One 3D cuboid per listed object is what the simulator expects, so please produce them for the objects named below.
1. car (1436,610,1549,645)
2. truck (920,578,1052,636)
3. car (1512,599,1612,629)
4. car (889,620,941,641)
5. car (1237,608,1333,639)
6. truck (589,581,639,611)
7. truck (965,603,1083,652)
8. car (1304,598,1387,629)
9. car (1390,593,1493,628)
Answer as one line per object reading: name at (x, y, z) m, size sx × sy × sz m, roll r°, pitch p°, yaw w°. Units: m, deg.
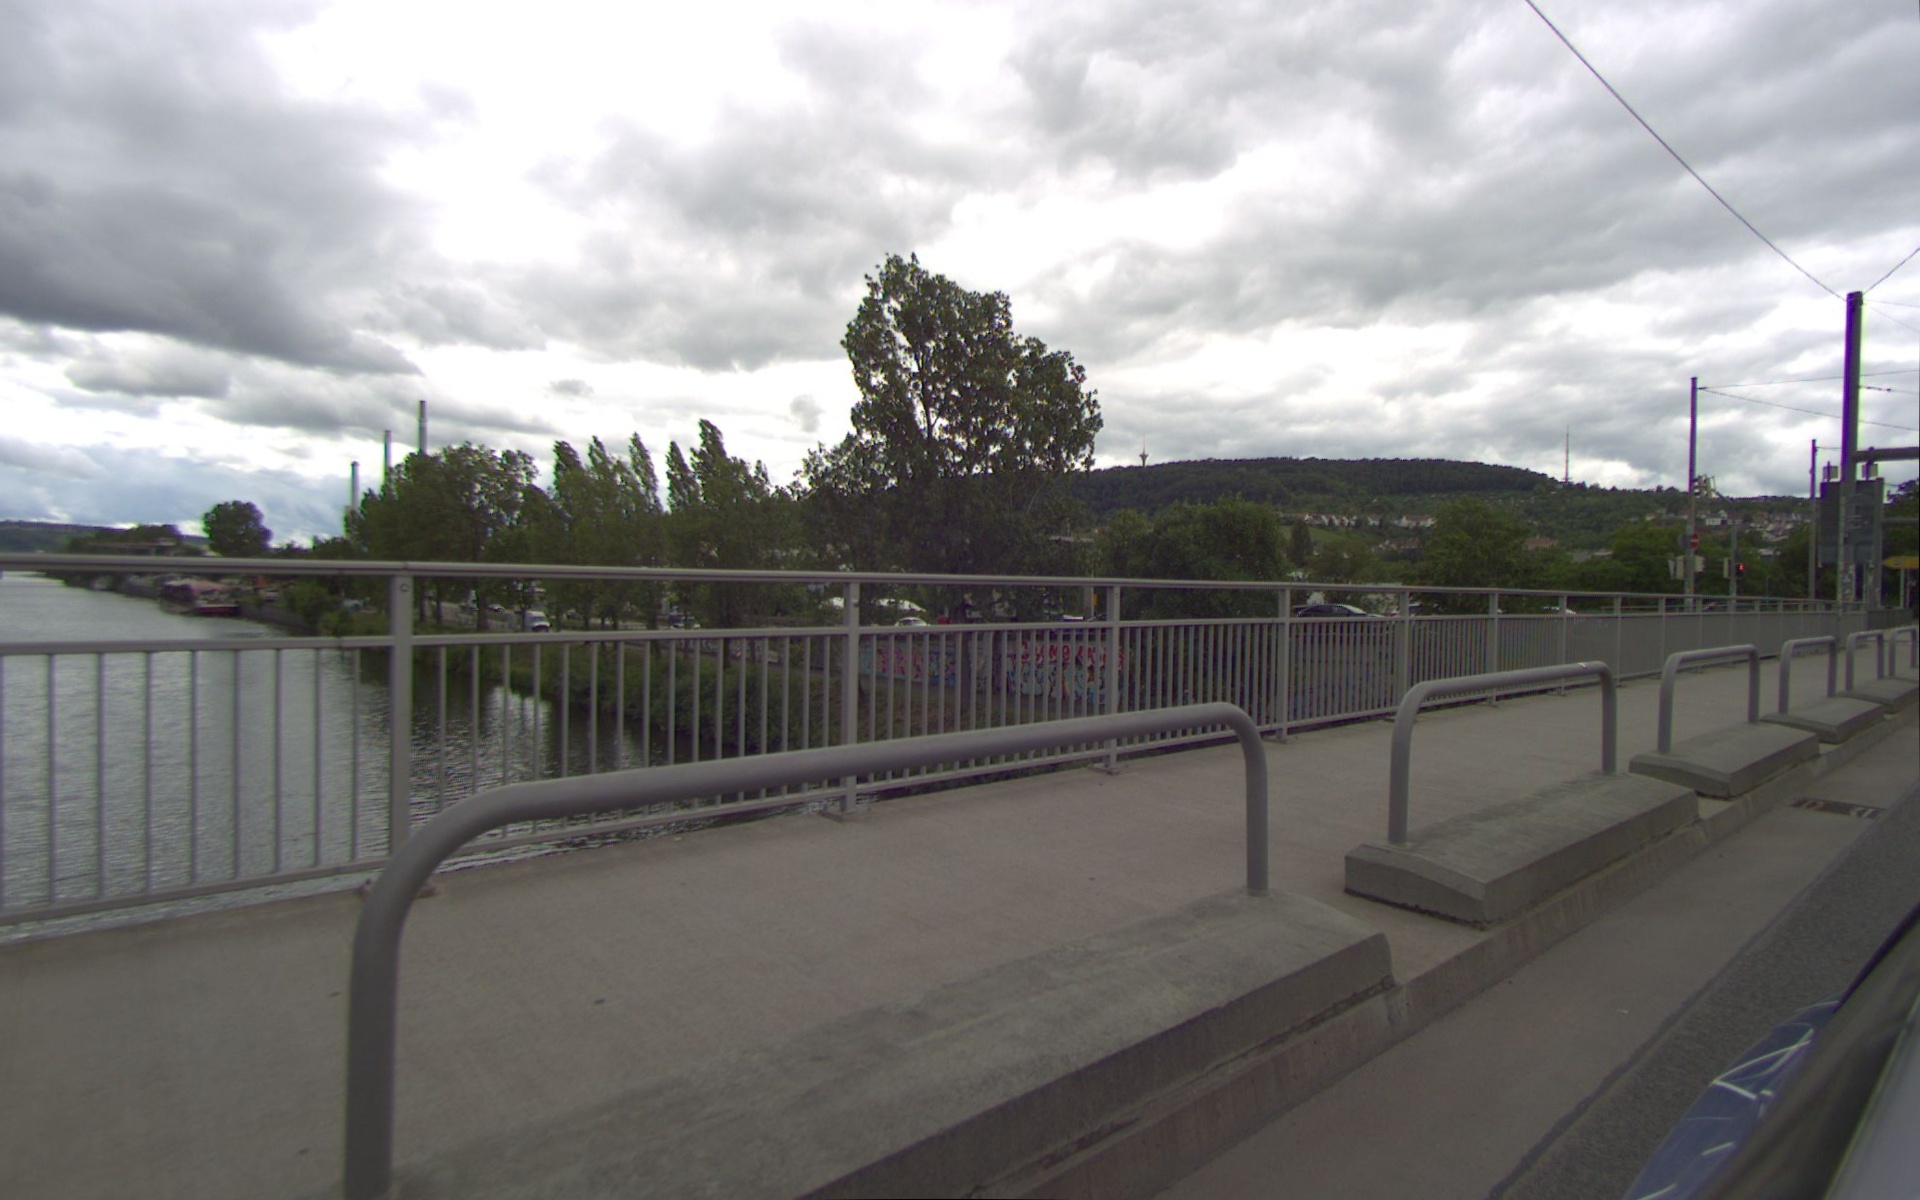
car at (23.766, 1.201, 45.244) m, size 1.668 × 1.438 × 4.143 m, roll -2°, pitch 1°, yaw -43°
truck at (1.696, 0.432, 73.277) m, size 3.173 × 3.928 × 10.403 m, roll 0°, pitch 0°, yaw -43°
car at (28.771, 0.670, 48.447) m, size 1.761 × 1.329 × 3.757 m, roll -2°, pitch 1°, yaw -42°
car at (-3.702, 2.487, 82.761) m, size 1.889 × 1.559 × 4.383 m, roll -1°, pitch 0°, yaw -42°
car at (18.689, 1.335, 58.289) m, size 1.966 × 1.639 × 4.954 m, roll -2°, pitch 1°, yaw -41°
truck at (-62.828, -0.736, 183.456) m, size 3.527 × 4.540 × 13.163 m, roll 1°, pitch 4°, yaw -42°
truck at (6.617, 2.826, 108.732) m, size 3.322 × 3.963 × 14.413 m, roll 1°, pitch 4°, yaw -41°
car at (20.275, 0.701, 53.299) m, size 1.667 × 1.559 × 3.752 m, roll -1°, pitch 0°, yaw -42°
car at (24.836, 0.532, 52.299) m, size 1.966 × 1.639 × 4.335 m, roll -2°, pitch 1°, yaw -41°
